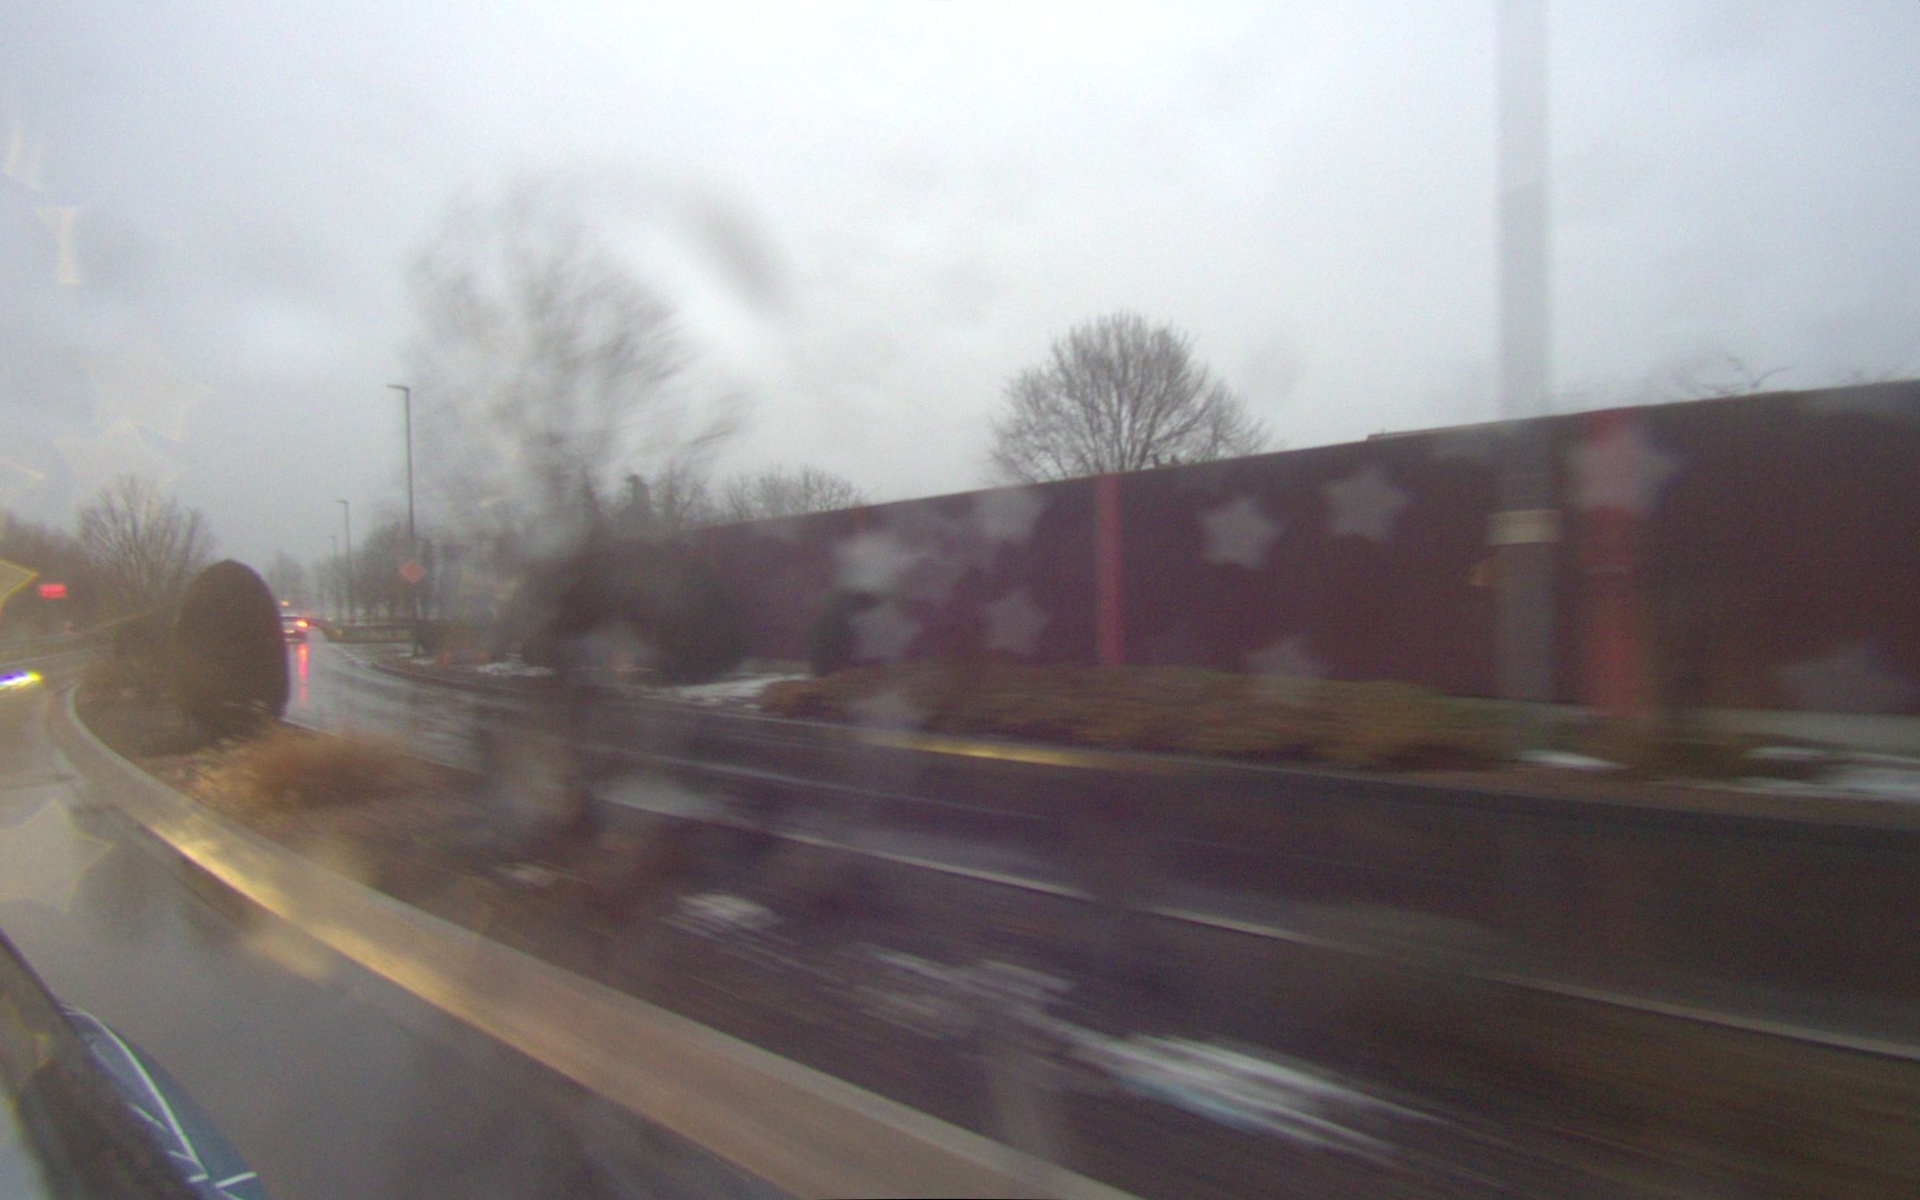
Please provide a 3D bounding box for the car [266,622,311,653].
[{"bbox_3d":[-37.942,2.109,57.178,1.673,1.590,3.891,-1,1,-40],"label":"car"}]
